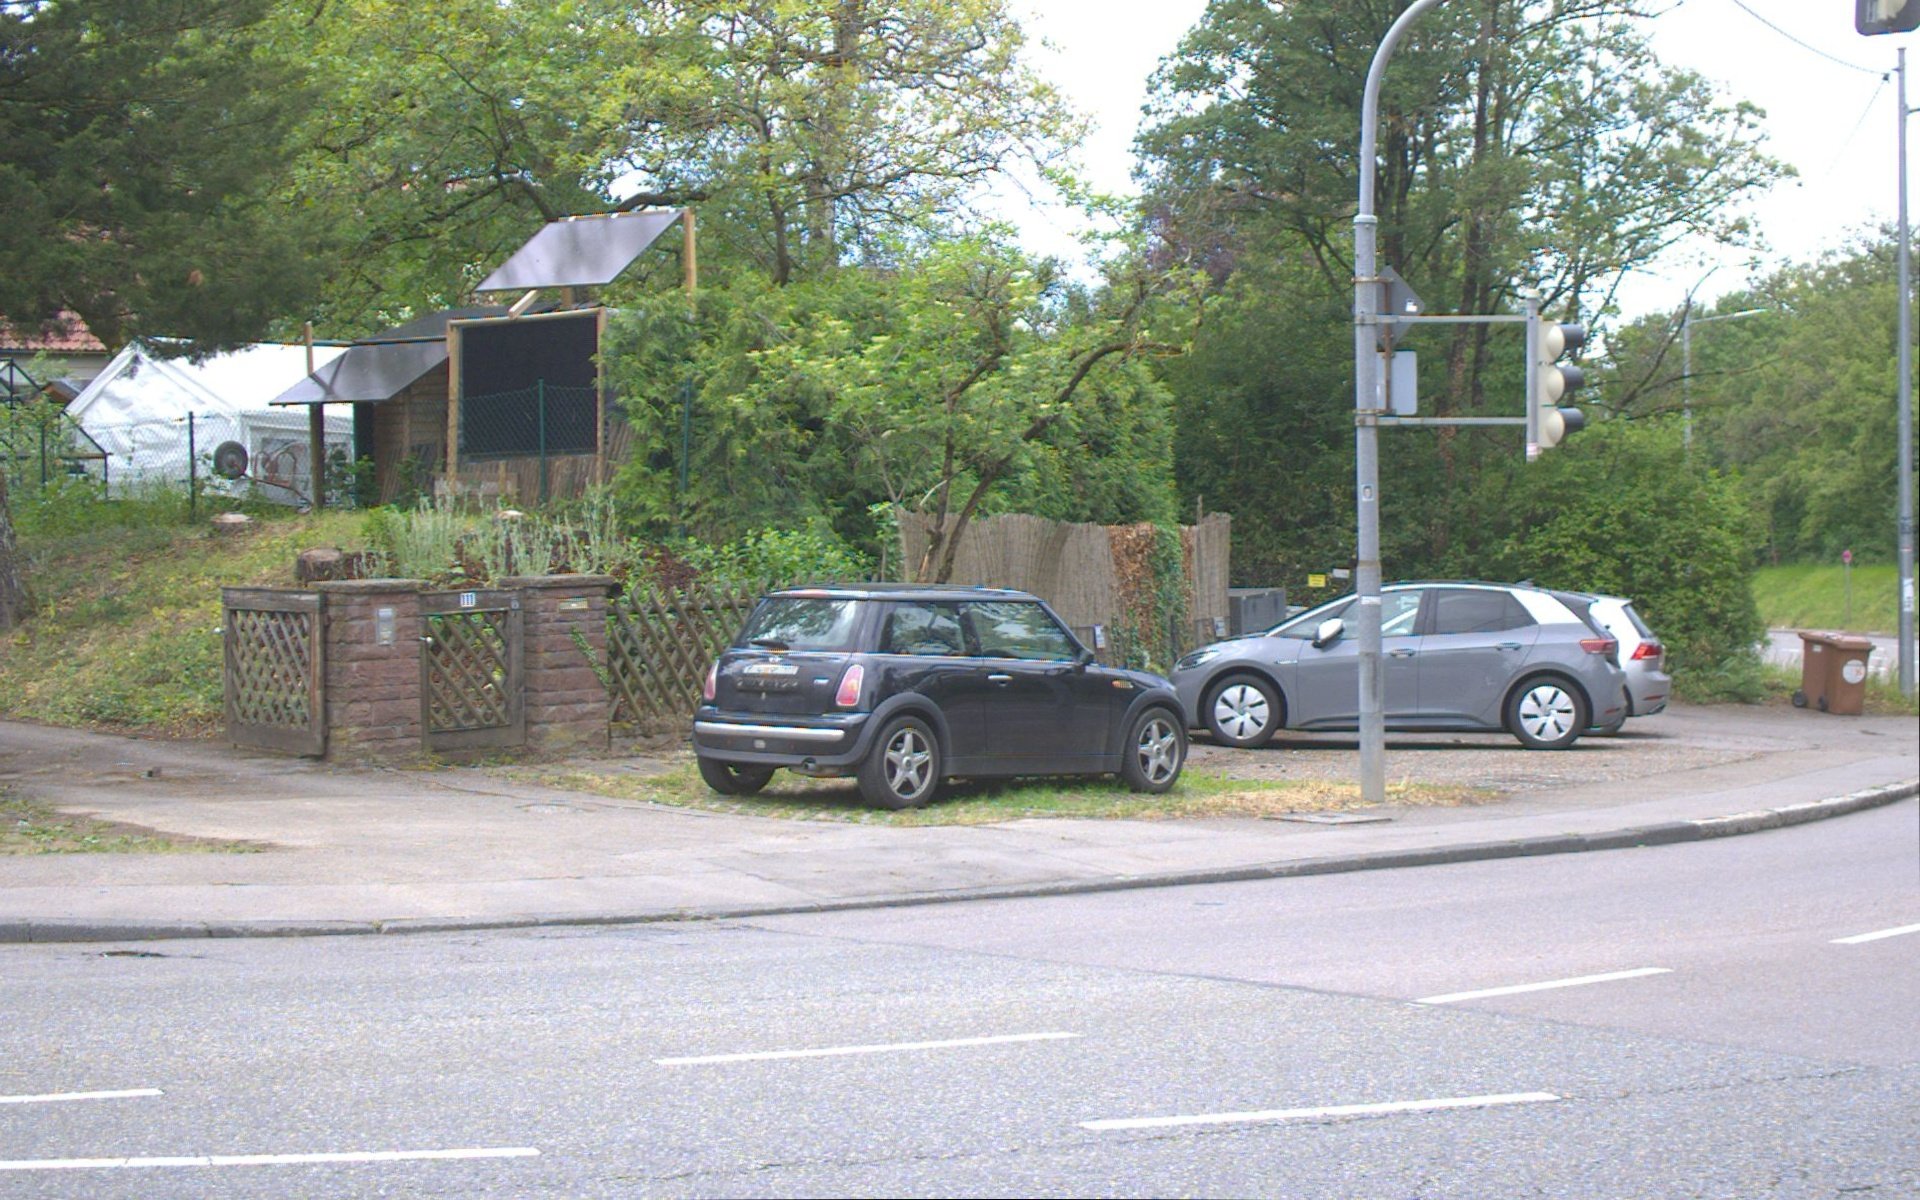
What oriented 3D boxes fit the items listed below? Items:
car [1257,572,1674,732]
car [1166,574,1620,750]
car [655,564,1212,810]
[{"bbox_3d":[5.117,0.504,34.967,4.087,1.548,1.854,0,1,8],"label":"car"},{"bbox_3d":[4.042,0.553,32.133,4.087,1.548,1.854,0,1,8],"label":"car"},{"bbox_3d":[-0.121,0.527,22.865,1.702,1.444,3.534,3,2,43],"label":"car"}]
